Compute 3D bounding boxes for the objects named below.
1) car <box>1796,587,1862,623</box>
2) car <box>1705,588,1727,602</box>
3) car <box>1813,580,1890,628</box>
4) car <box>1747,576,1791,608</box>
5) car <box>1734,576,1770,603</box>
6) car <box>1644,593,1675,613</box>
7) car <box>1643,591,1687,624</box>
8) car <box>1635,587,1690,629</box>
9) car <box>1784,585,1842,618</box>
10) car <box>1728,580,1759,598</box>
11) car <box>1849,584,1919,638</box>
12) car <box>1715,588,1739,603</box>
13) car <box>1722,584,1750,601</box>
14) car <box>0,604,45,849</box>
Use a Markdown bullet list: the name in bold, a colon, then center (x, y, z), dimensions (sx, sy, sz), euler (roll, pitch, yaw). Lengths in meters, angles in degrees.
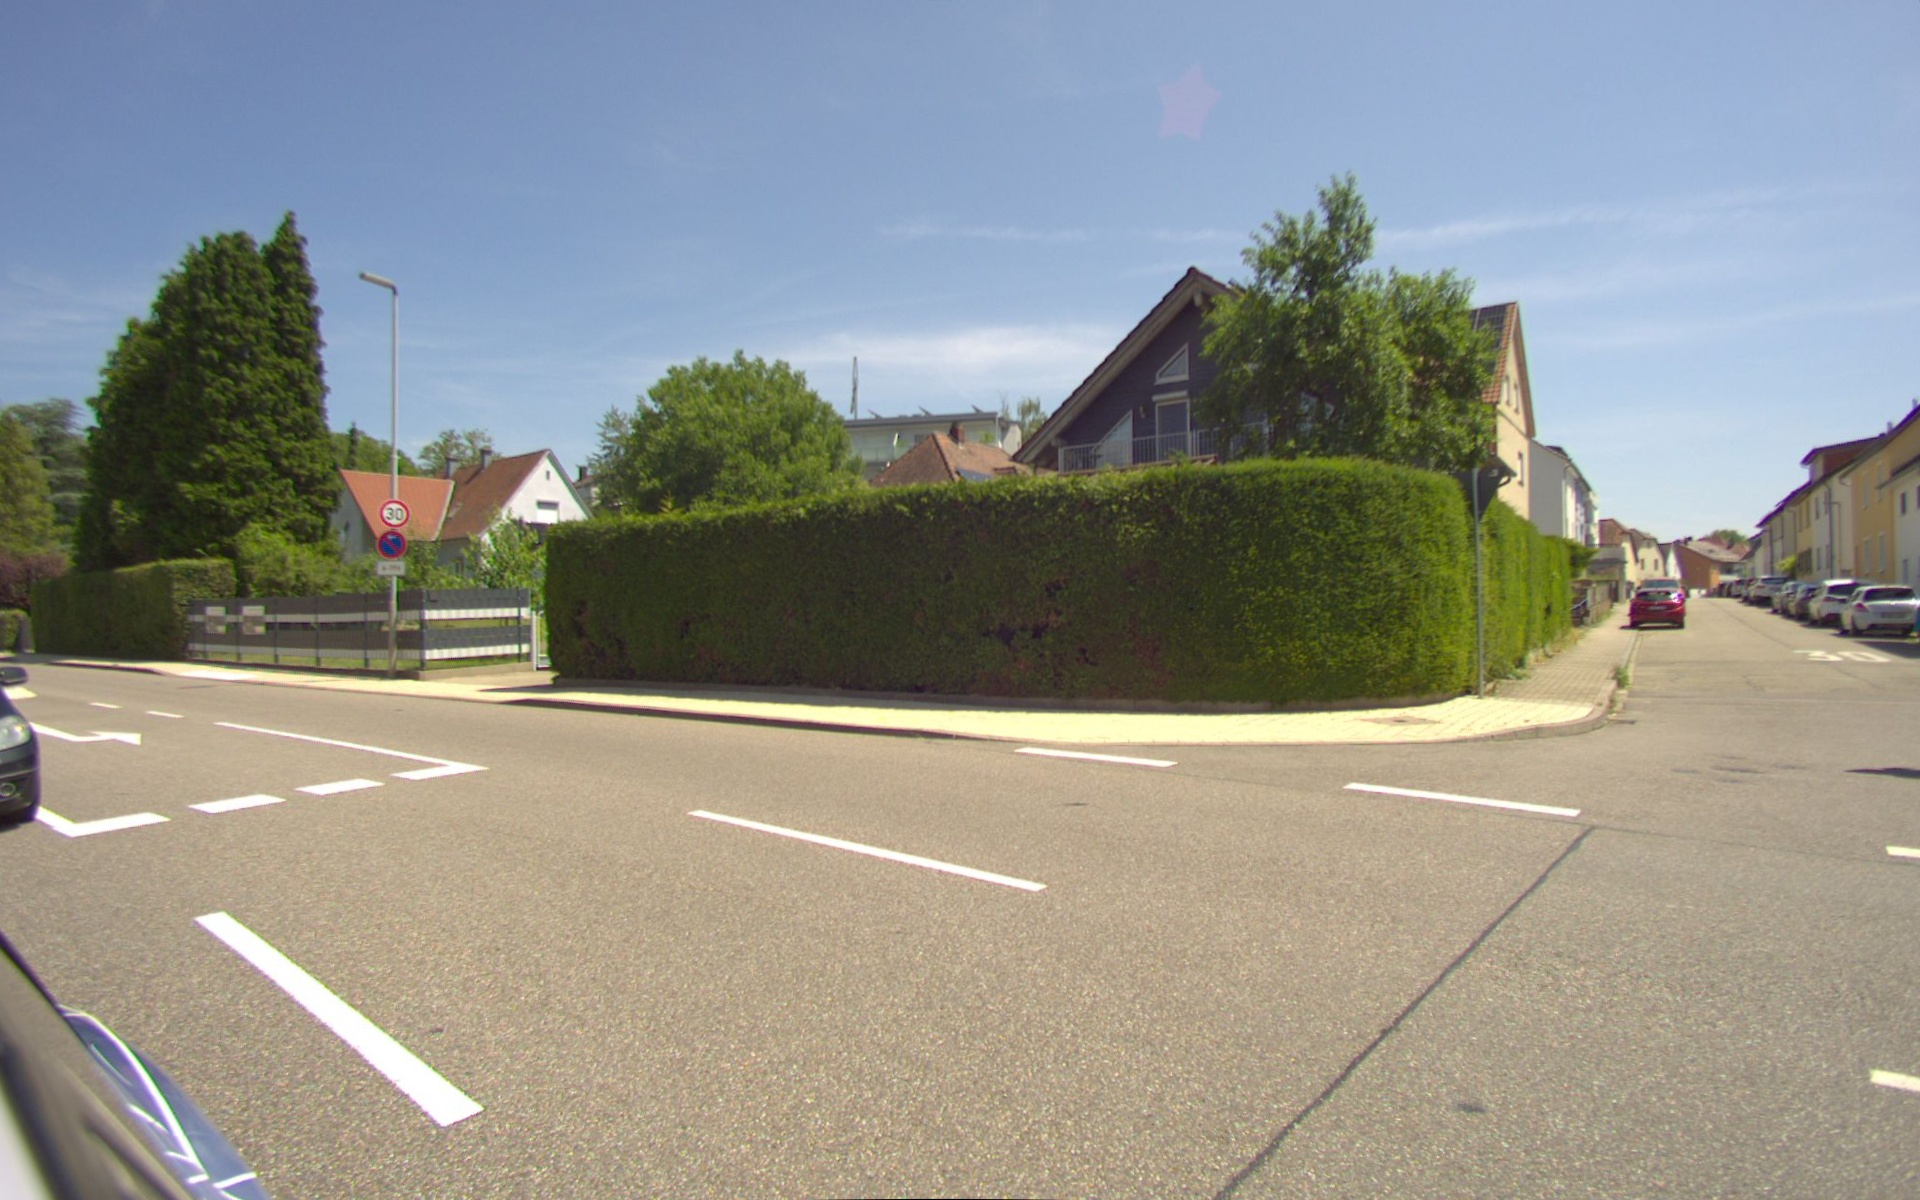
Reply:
- **car**: center (34.669, 0.164, 40.452), dimensions (1.654, 1.378, 3.628), euler (0, 0, 36)
- **car**: center (77.609, -0.516, 103.874), dimensions (1.703, 1.374, 3.628), euler (0, 0, 36)
- **car**: center (31.148, 0.133, 35.437), dimensions (1.654, 1.587, 3.628), euler (0, 0, 36)
- **car**: center (44.813, -0.425, 56.094), dimensions (1.703, 1.733, 3.628), euler (0, 0, 36)
- **car**: center (51.450, -0.686, 65.800), dimensions (1.703, 1.733, 3.628), euler (0, 0, 36)
- **car**: center (46.528, 0.181, 67.315), dimensions (1.612, 1.316, 3.315), euler (0, 0, 36)
- **car**: center (32.869, 0.332, 47.167), dimensions (1.612, 1.499, 3.382), euler (0, 0, 36)
- **car**: center (26.223, 0.266, 37.755), dimensions (1.612, 1.499, 3.382), euler (0, 0, 36)
- **car**: center (37.868, 0.048, 44.990), dimensions (1.654, 1.378, 3.628), euler (0, 0, 36)
- **car**: center (59.704, -0.833, 77.128), dimensions (1.703, 1.374, 3.628), euler (0, 0, 36)
- **car**: center (27.477, 0.299, 29.777), dimensions (1.654, 1.499, 3.142), euler (0, 0, 36)
- **car**: center (71.091, -0.425, 93.814), dimensions (1.703, 1.374, 3.628), euler (0, 0, 36)
- **car**: center (65.660, -0.609, 85.663), dimensions (1.703, 1.374, 3.628), euler (0, 0, 36)
- **car**: center (-8.360, 0.882, 7.342), dimensions (4.150, 1.601, 1.846), euler (-2, -1, 38)
